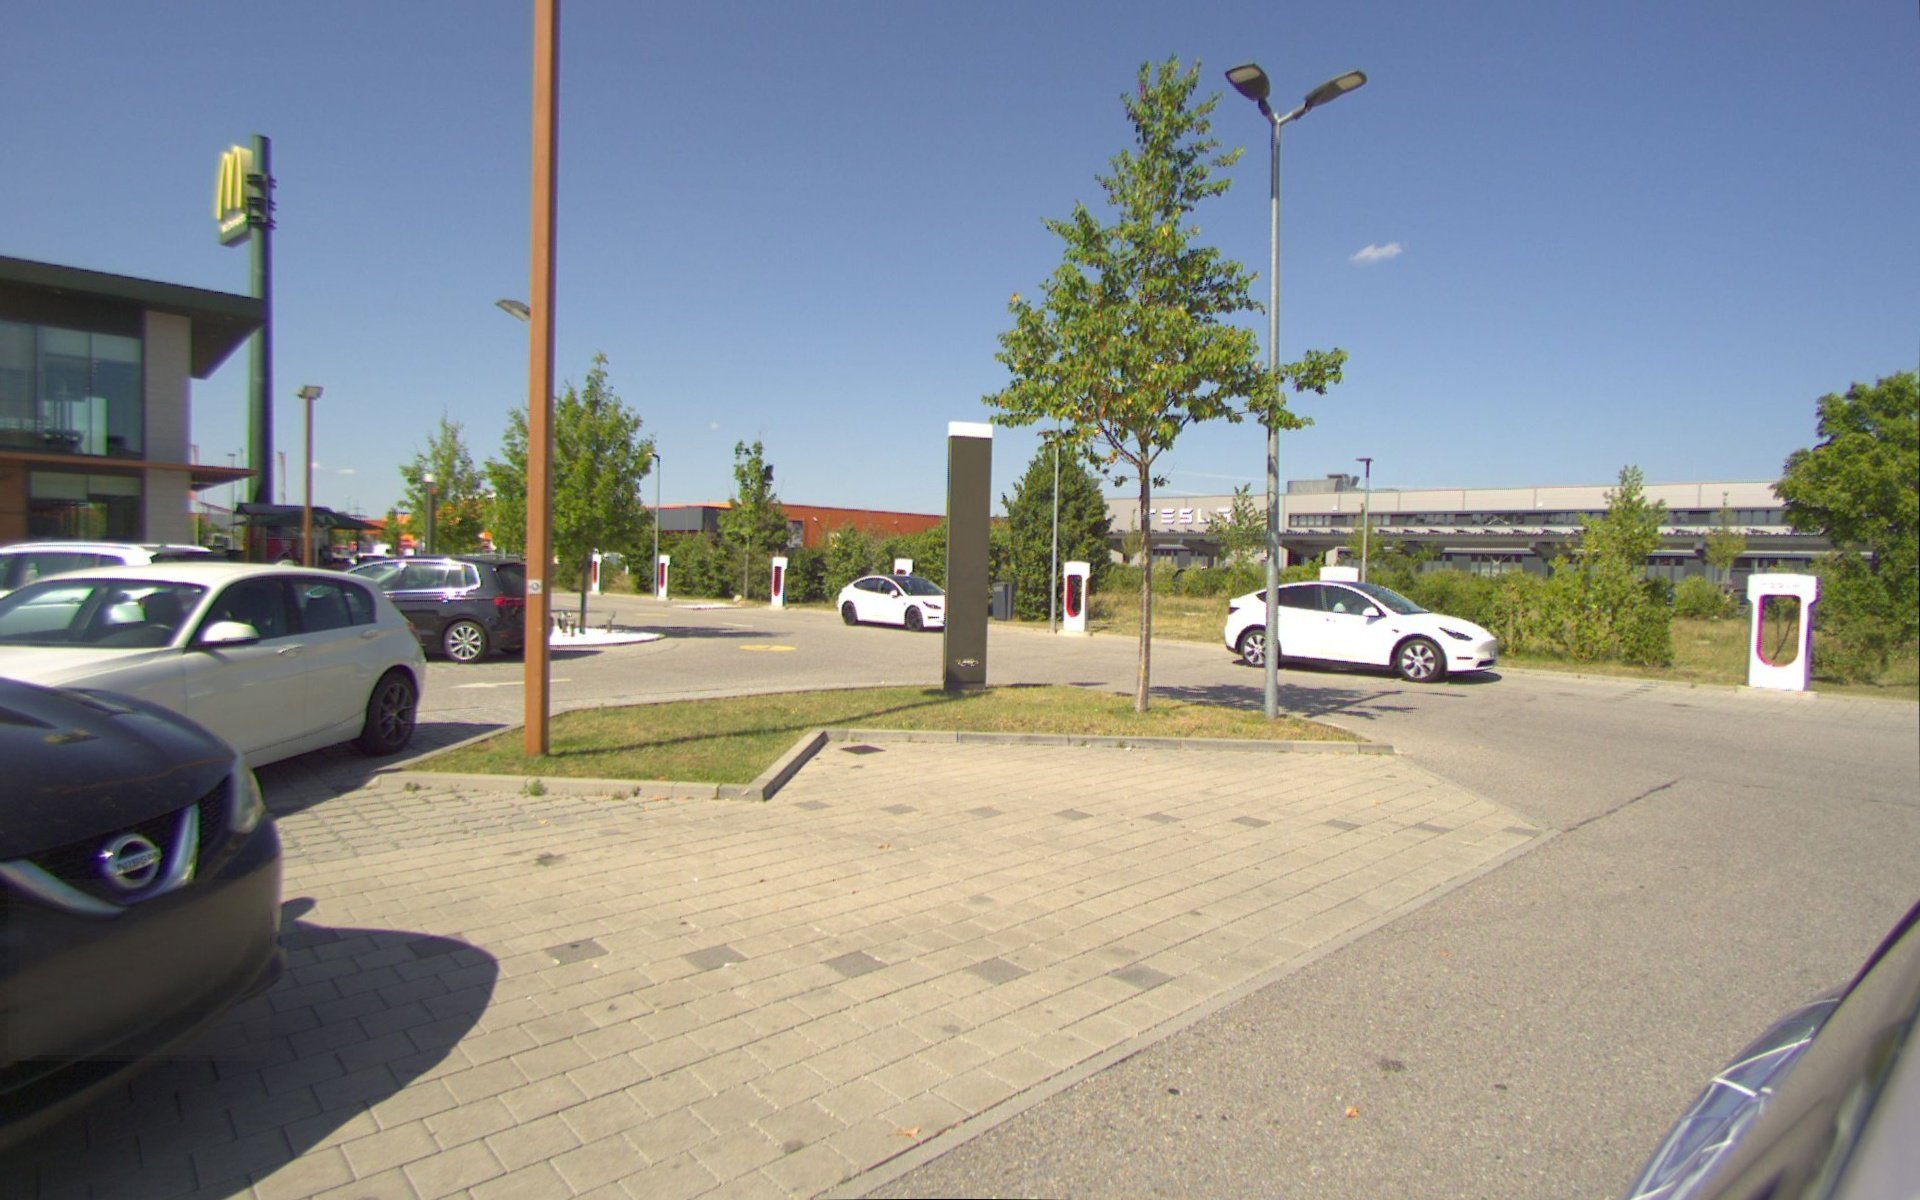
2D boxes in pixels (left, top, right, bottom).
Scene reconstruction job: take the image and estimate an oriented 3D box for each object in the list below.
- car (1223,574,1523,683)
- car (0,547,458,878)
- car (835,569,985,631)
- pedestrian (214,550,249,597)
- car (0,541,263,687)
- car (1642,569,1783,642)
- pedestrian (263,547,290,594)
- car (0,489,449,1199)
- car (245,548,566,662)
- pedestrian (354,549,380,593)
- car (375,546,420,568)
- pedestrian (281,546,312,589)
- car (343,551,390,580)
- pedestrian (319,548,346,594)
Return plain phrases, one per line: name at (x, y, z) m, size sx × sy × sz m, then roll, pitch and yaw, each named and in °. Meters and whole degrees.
car at (7.149, 0.393, 17.884) m, size 4.564 × 1.612 × 1.813 m, roll 3°, pitch 2°, yaw 45°
car at (-5.265, 0.438, 6.585) m, size 1.938 × 1.477 × 4.208 m, roll 1°, pitch 1°, yaw 0°
car at (-1.444, -0.056, 27.701) m, size 1.811 × 1.497 × 4.326 m, roll 0°, pitch 2°, yaw -42°
pedestrian at (-25.104, -0.921, 34.857) m, size 0.692 × 1.579 × 0.718 m, roll 1°, pitch 1°, yaw 18°
car at (-11.516, 0.113, 12.947) m, size 4.040 × 1.695 × 1.812 m, roll 1°, pitch 2°, yaw 3°
car at (19.807, 0.097, 26.581) m, size 4.179 × 1.771 × 1.918 m, roll 0°, pitch 2°, yaw -38°
pedestrian at (-23.511, -1.022, 34.803) m, size 0.690 × 1.579 × 0.721 m, roll 0°, pitch 2°, yaw -42°
car at (-3.863, 0.530, 2.552) m, size 4.224 × 1.610 × 1.857 m, roll 2°, pitch 1°, yaw 2°
car at (-8.280, 0.050, 15.364) m, size 3.924 × 1.571 × 1.755 m, roll 1°, pitch 1°, yaw 0°
pedestrian at (-21.545, -1.047, 36.756) m, size 0.690 × 1.579 × 0.721 m, roll 0°, pitch 2°, yaw -42°
car at (-61.971, -4.724, 111.501) m, size 1.994 × 2.331 × 3.937 m, roll 2°, pitch 2°, yaw 44°
pedestrian at (-25.124, -1.234, 38.313) m, size 0.692 × 1.579 × 0.718 m, roll 1°, pitch 1°, yaw 18°
car at (-33.684, -1.952, 57.371) m, size 1.732 × 1.581 × 3.880 m, roll 0°, pitch 2°, yaw -39°
pedestrian at (-22.133, -1.028, 35.715) m, size 0.690 × 1.579 × 0.721 m, roll 0°, pitch 2°, yaw -42°
